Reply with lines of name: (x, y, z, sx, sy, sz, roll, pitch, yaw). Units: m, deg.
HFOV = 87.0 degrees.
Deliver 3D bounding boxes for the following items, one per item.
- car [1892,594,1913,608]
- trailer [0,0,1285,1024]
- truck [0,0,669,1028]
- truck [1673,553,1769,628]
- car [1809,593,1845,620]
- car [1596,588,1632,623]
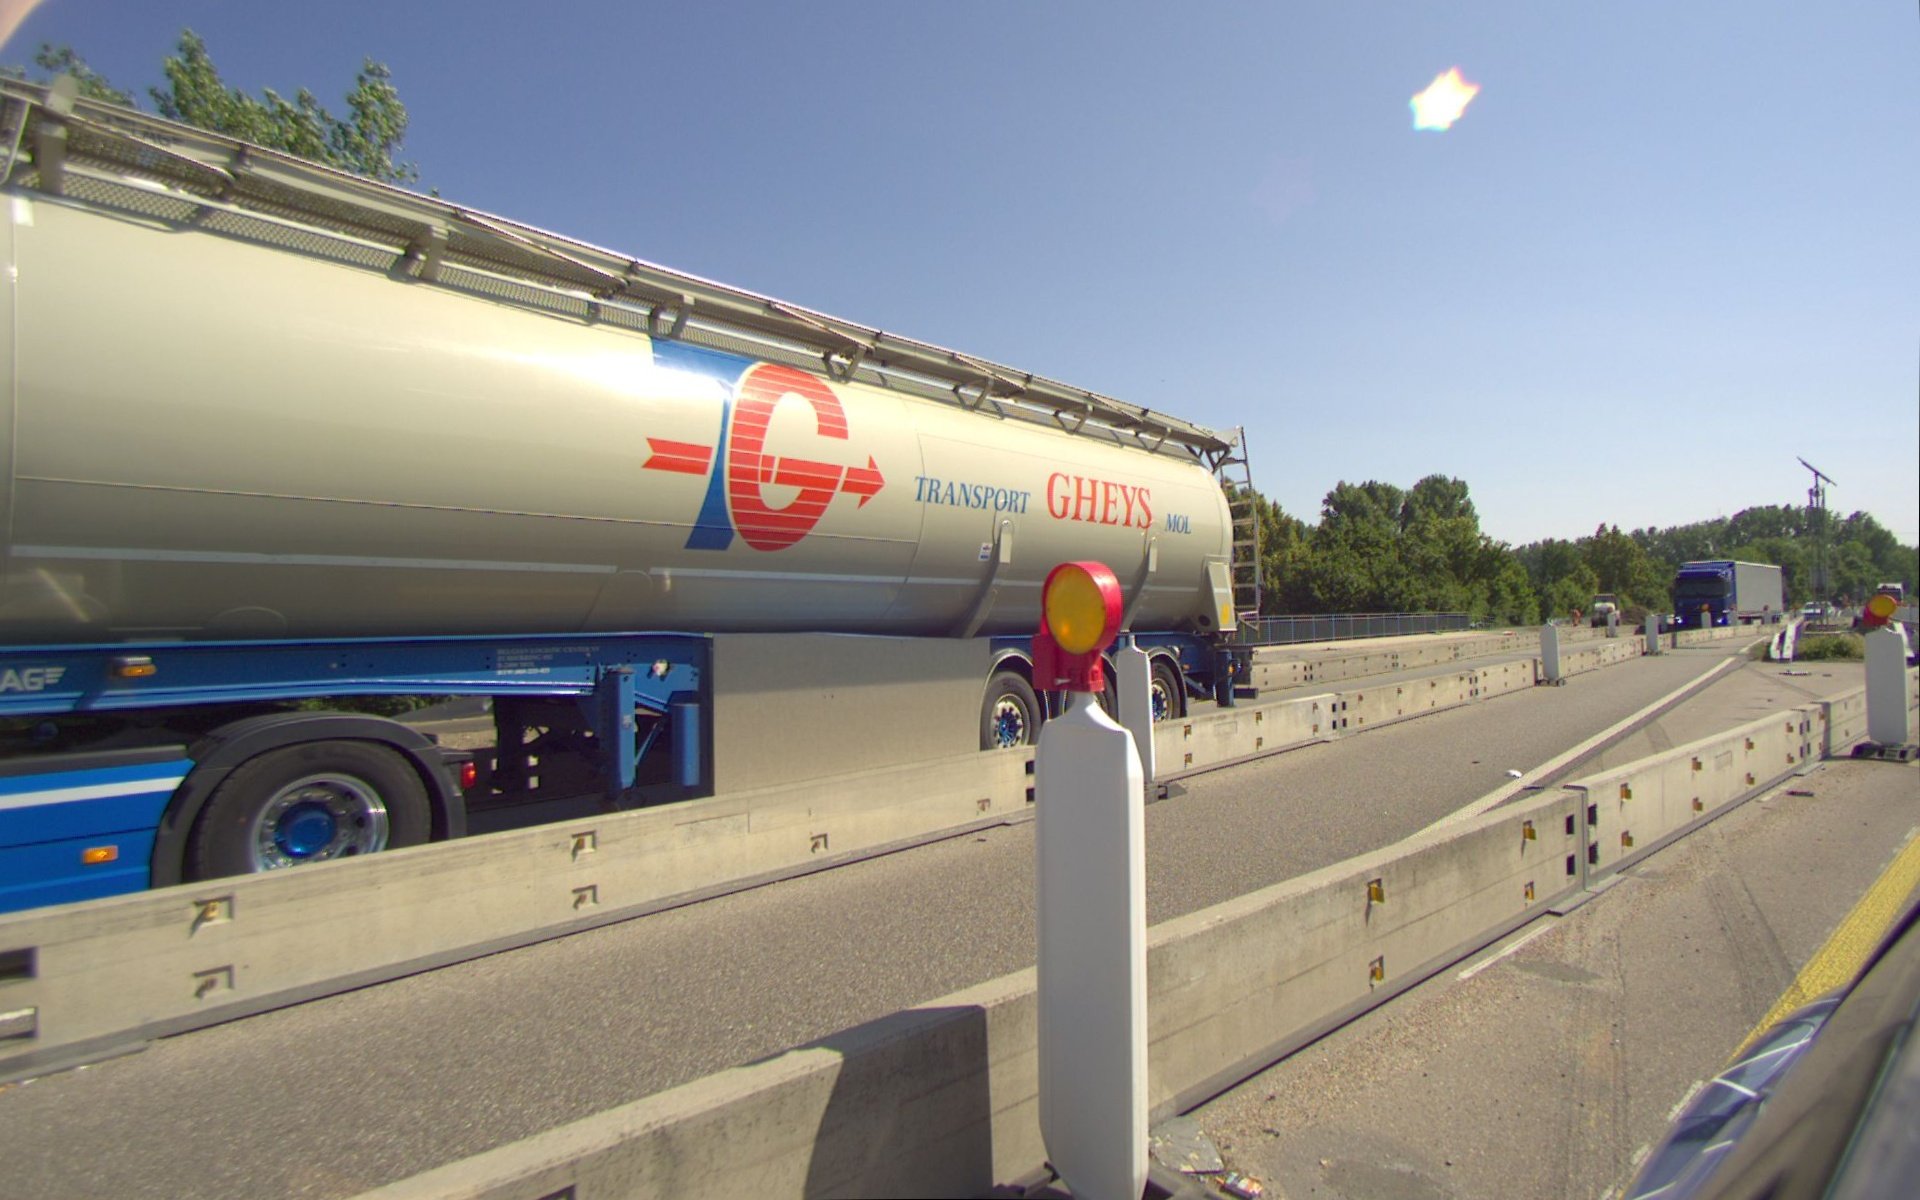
car: (116.678, 0.083, 125.235, 4.026, 1.651, 1.743, 0, -1, -45)
trailer: (-0.965, -0.423, 9.262, 2.692, 4.190, 12.423, -1, -1, 42)
truck: (-5.188, -0.368, 4.502, 2.692, 4.155, 7.190, -1, -1, 42)
truck: (43.987, -0.514, 58.392, 8.518, 4.036, 2.857, 0, -1, -43)
car: (67.692, 0.510, 79.012, 1.992, 2.039, 3.939, -1, -1, 42)
car: (52.583, 0.448, 81.310, 2.098, 2.676, 5.906, -1, -1, 36)
